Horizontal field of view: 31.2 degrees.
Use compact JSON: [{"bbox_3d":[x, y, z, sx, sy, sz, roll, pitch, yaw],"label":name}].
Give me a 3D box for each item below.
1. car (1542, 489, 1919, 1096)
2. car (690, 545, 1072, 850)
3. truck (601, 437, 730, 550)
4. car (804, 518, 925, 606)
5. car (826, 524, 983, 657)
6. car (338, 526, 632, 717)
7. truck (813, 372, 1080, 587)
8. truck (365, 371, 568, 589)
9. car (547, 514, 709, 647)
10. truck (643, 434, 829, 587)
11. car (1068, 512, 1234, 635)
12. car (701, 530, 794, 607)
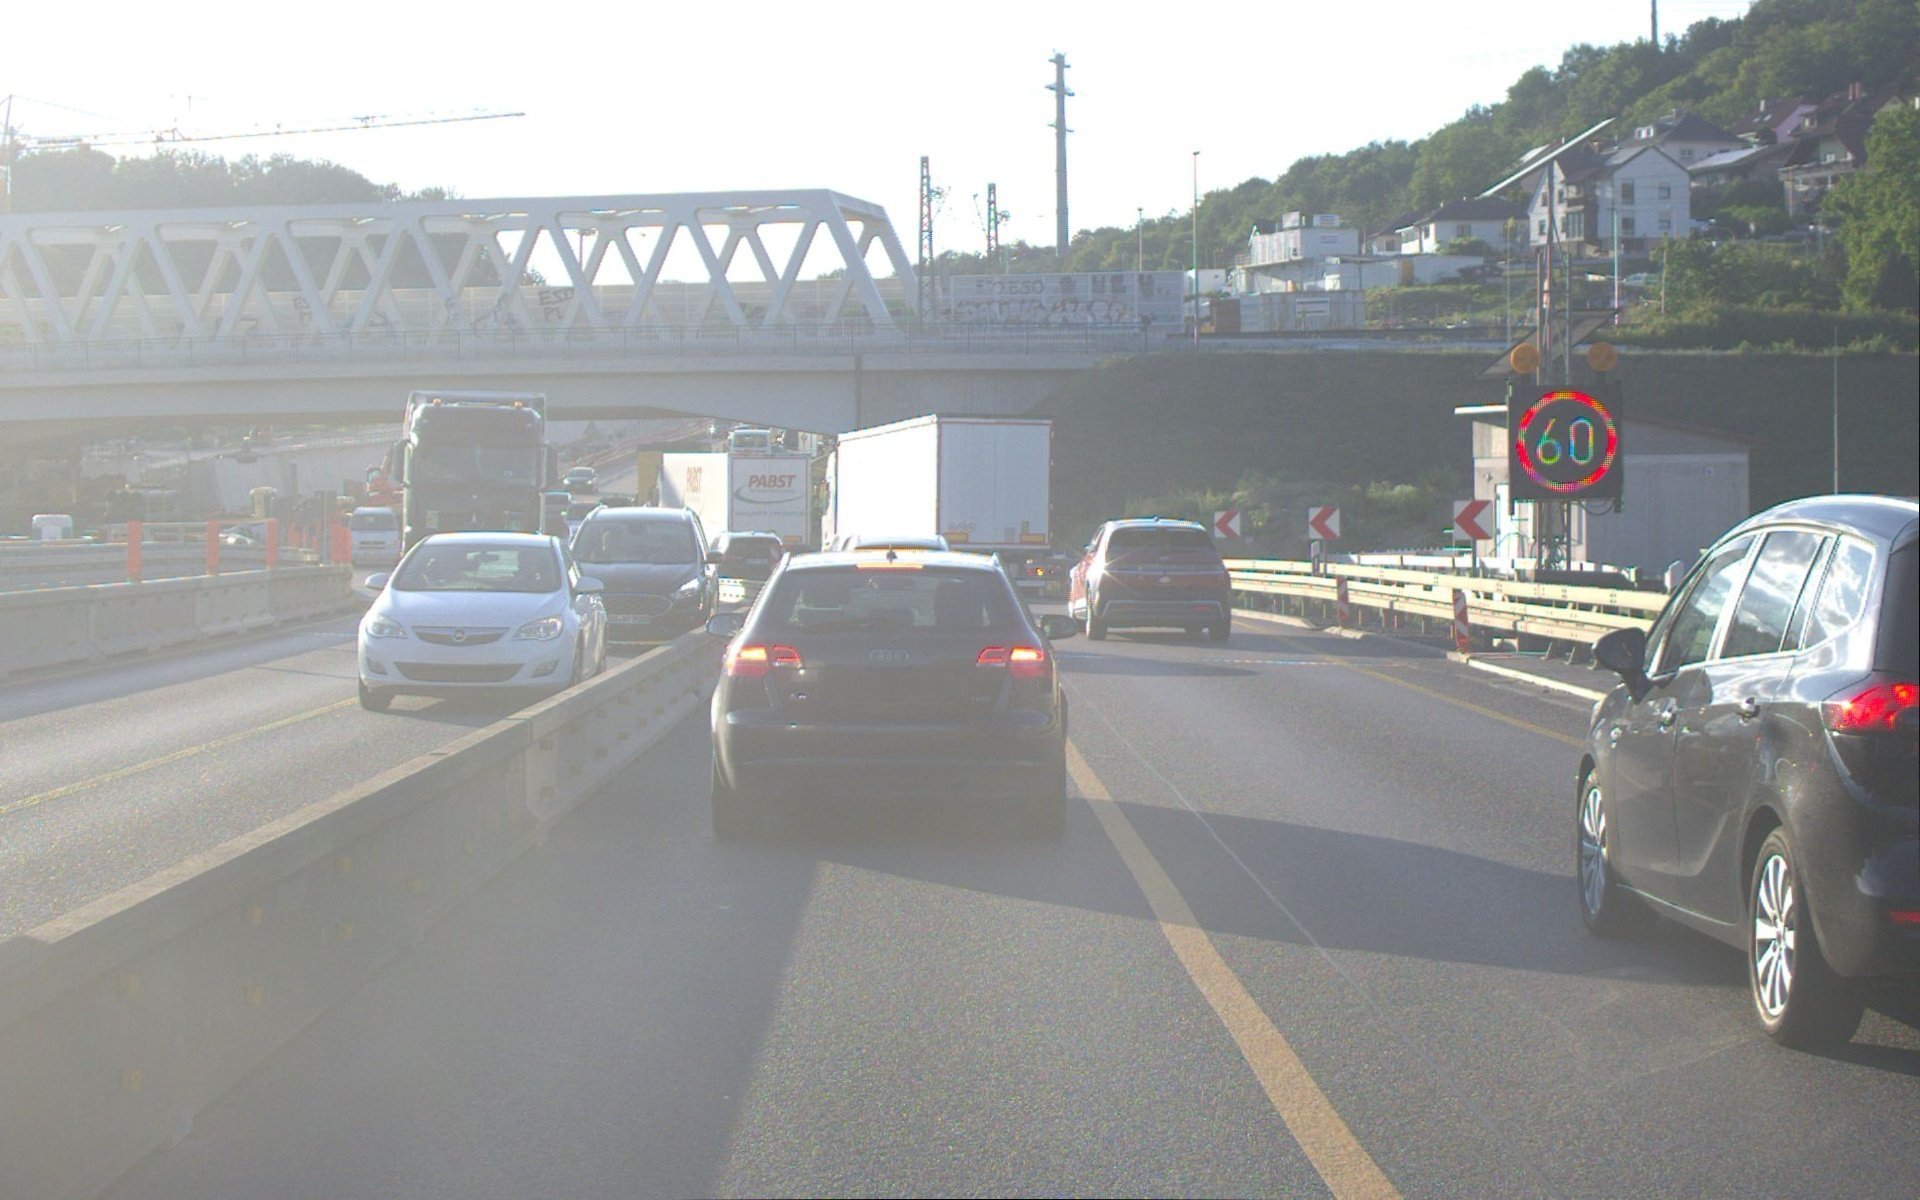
[{"bbox_3d":[3.249,0.482,11.431,1.814,1.626,4.411,1,1,-1],"label":"car"},{"bbox_3d":[-0.420,0.421,17.931,1.770,1.385,4.001,0,1,-2],"label":"car"},{"bbox_3d":[-12.611,-4.584,145.740,3.889,4.482,13.853,1,2,-11],"label":"truck"},{"bbox_3d":[-1.762,-0.709,62.024,1.765,1.481,4.001,2,1,-7],"label":"car"},{"bbox_3d":[-0.717,-0.154,41.759,1.765,1.481,4.001,2,1,-2],"label":"car"},{"bbox_3d":[-3.970,0.122,29.390,1.923,1.492,4.368,1,1,0],"label":"car"},{"bbox_3d":[-0.589,-2.708,80.524,3.384,4.483,15.271,1,1,-11],"label":"truck"},{"bbox_3d":[-9.461,-2.282,66.972,2.930,3.877,10.265,1,1,-3],"label":"truck"},{"bbox_3d":[-4.023,-0.277,42.167,1.792,1.534,4.368,0,1,-3],"label":"car"},{"bbox_3d":[-7.392,-2.842,110.505,3.889,4.483,15.272,1,1,-11],"label":"truck"},{"bbox_3d":[2.558,-0.391,46.845,1.769,1.547,4.001,2,1,-3],"label":"car"},{"bbox_3d":[-5.059,-0.762,81.461,1.698,1.726,4.001,1,1,-11],"label":"car"}]
